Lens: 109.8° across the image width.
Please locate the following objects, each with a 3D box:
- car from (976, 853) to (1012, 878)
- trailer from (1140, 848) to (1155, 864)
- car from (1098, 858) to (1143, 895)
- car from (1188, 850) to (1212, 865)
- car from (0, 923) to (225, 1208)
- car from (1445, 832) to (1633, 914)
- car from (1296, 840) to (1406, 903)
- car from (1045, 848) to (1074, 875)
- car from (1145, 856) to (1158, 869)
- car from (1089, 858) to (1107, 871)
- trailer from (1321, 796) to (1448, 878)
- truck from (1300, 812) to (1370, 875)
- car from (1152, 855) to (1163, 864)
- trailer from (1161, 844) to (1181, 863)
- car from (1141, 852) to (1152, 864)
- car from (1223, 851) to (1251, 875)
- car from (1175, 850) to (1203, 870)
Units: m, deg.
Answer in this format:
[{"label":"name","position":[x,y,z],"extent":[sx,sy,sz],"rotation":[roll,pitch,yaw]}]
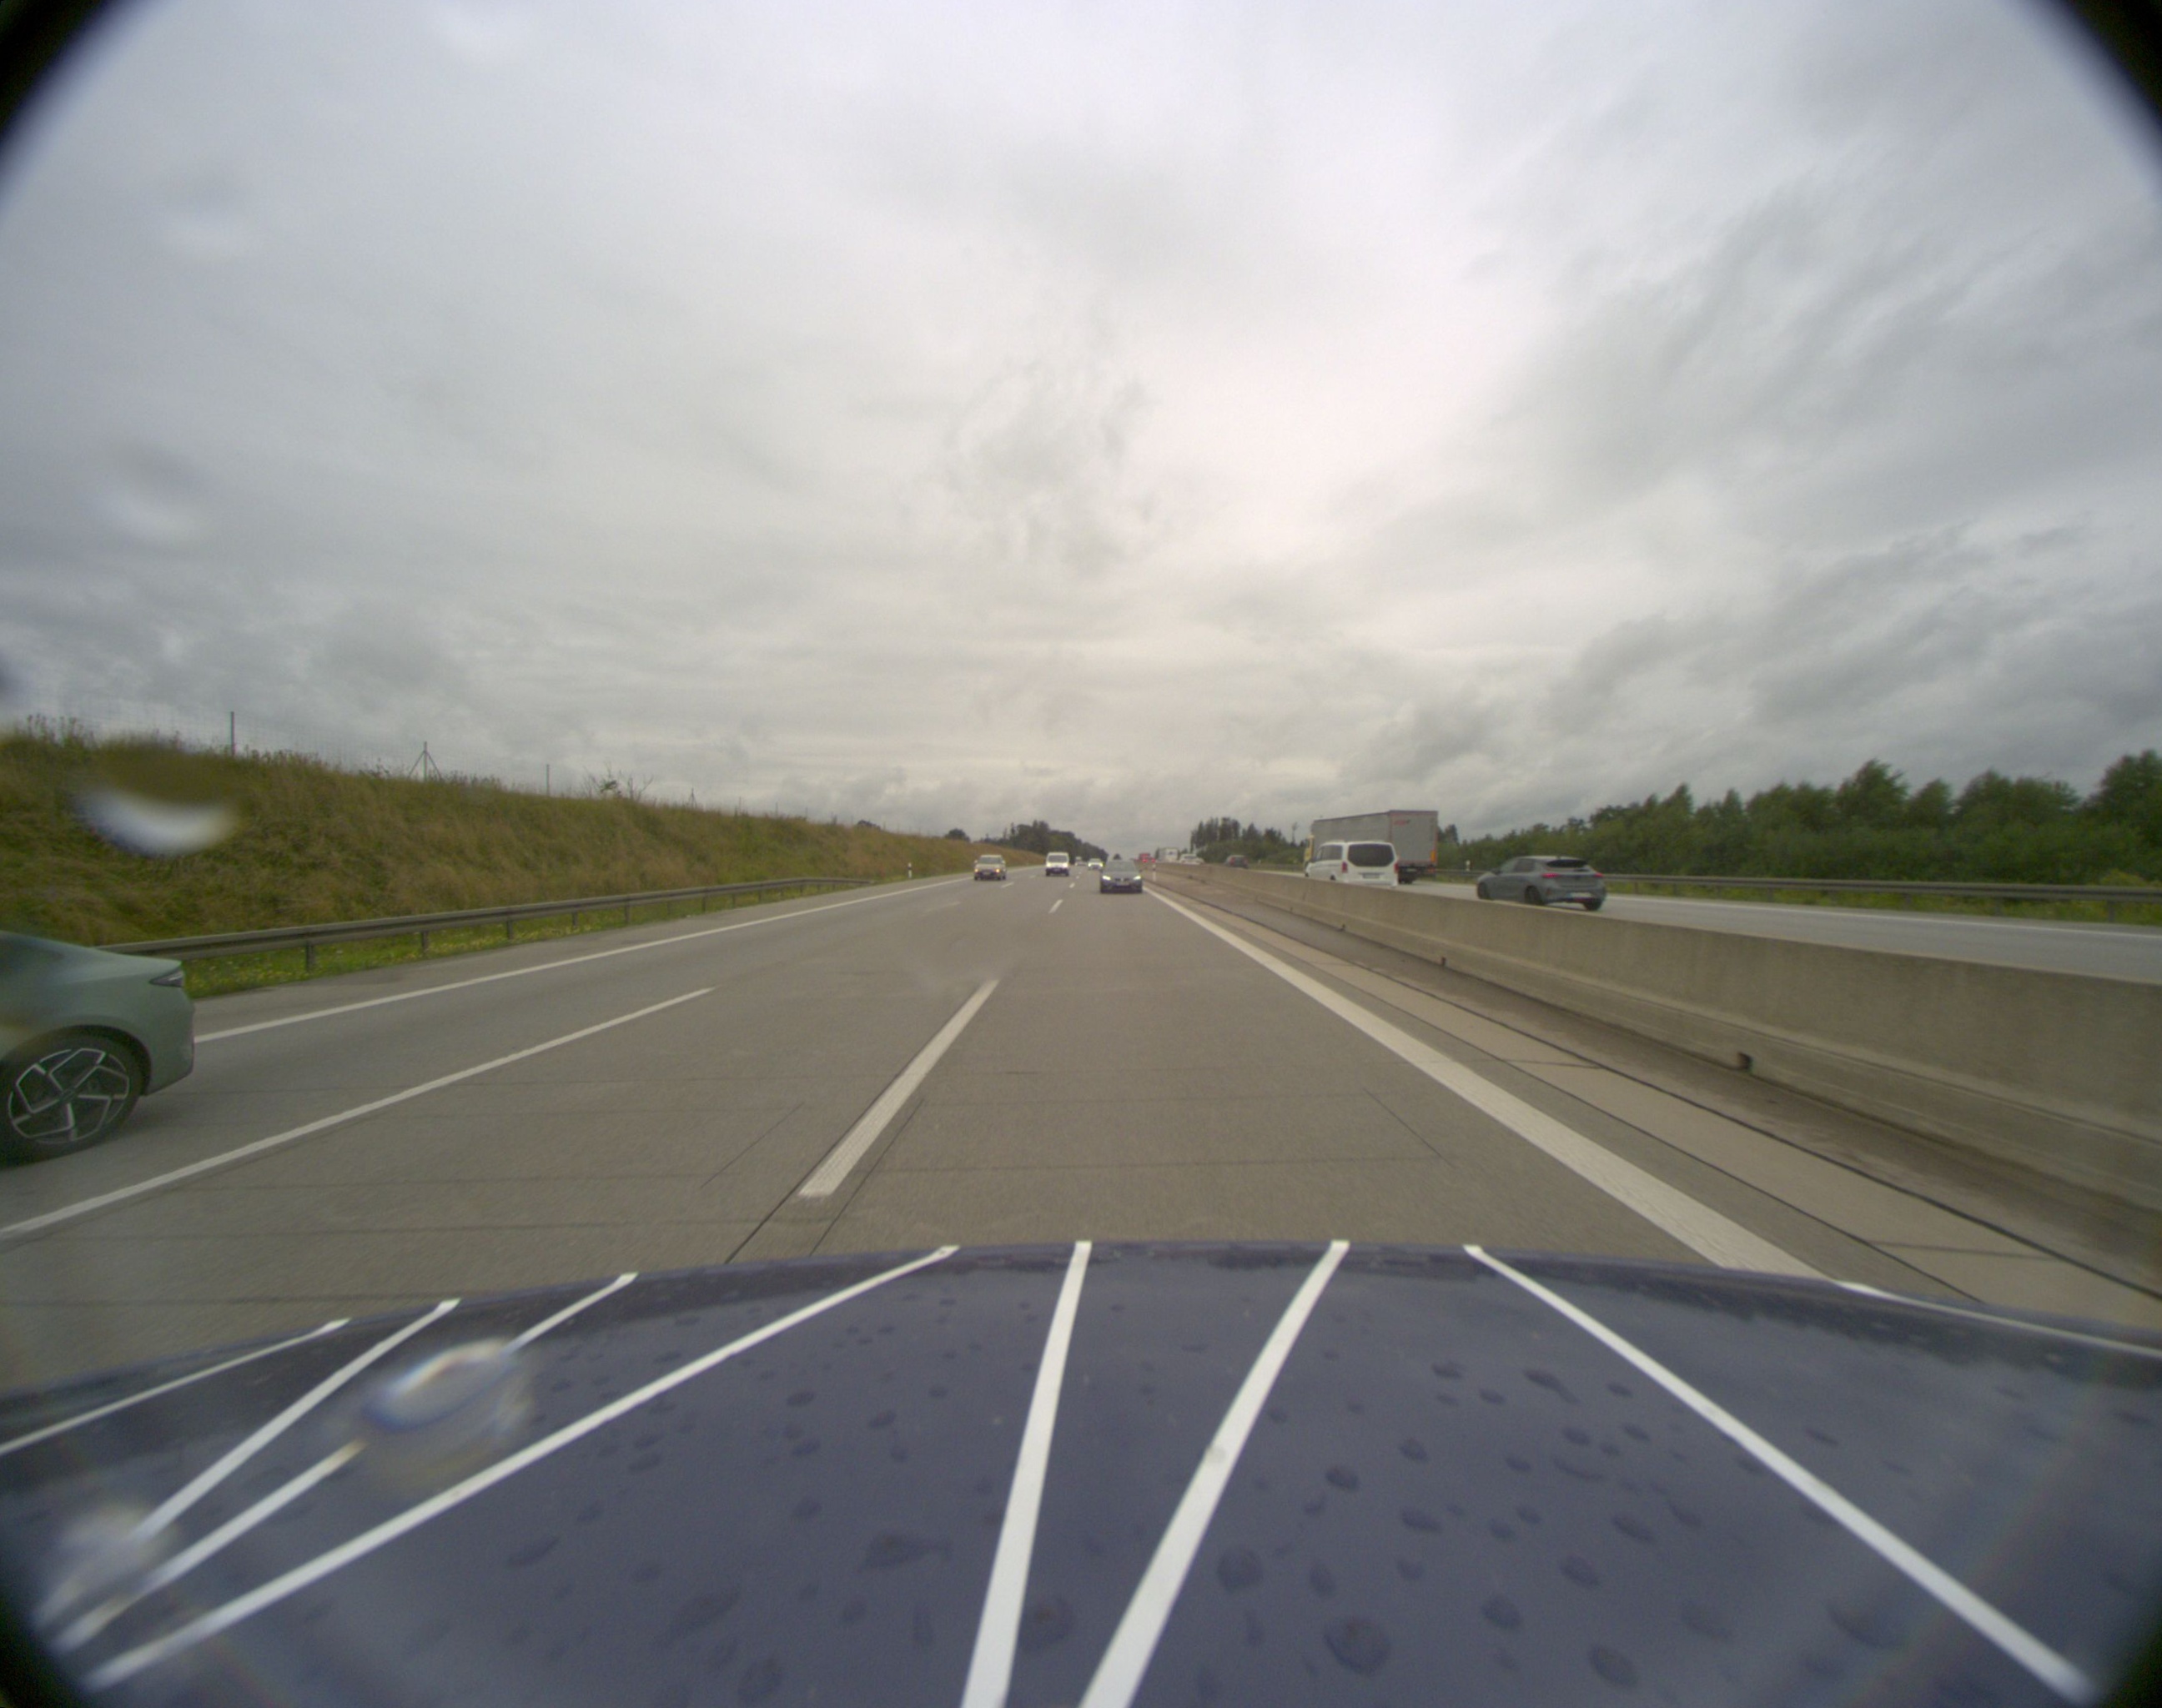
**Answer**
[{"label":"car","position":[-5.740,0.756,50.484],"extent":[1.789,1.595,4.571],"rotation":[1,-1,1]},{"label":"trailer","position":[20.832,0.591,239.209],"extent":[3.607,4.771,12.909],"rotation":[1,-1,0]},{"label":"car","position":[1.748,0.950,33.498],"extent":[1.789,1.471,4.572],"rotation":[1,-1,3]},{"label":"car","position":[14.520,0.409,92.738],"extent":[2.039,1.657,5.268],"rotation":[1,0,0]},{"label":"car","position":[-6.804,1.203,2.721],"extent":[2.019,1.437,4.745],"rotation":[-3,-1,0]},{"label":"car","position":[12.809,0.512,21.865],"extent":[1.919,2.001,5.925],"rotation":[1,-1,1]},{"label":"car","position":[9.463,0.595,27.238],"extent":[1.919,2.001,5.925],"rotation":[1,-1,1]},{"label":"car","position":[-1.734,0.619,63.202],"extent":[2.042,2.111,6.069],"rotation":[1,-1,2]},{"label":"car","position":[11.203,1.390,120.933],"extent":[1.692,2.001,4.837],"rotation":[1,-1,0]},{"label":"car","position":[2.221,1.334,98.124],"extent":[2.030,1.669,4.321],"rotation":[1,-1,4]},{"label":"trailer","position":[17.550,-0.787,45.120],"extent":[2.926,4.192,11.874],"rotation":[1,-1,1]},{"label":"truck","position":[17.673,-0.663,53.286],"extent":[2.939,4.155,5.858],"rotation":[1,-1,0]},{"label":"car","position":[14.413,1.083,143.370],"extent":[1.499,1.738,4.579],"rotation":[1,-1,-1]},{"label":"trailer","position":[19.670,0.003,167.178],"extent":[2.895,3.979,13.016],"rotation":[1,-1,0]},{"label":"car","position":[15.388,0.940,178.275],"extent":[1.806,2.941,5.578],"rotation":[1,0,-2]},{"label":"car","position":[13.667,0.806,66.734],"extent":[1.649,2.001,4.000],"rotation":[1,-1,0]},{"label":"car","position":[10.407,0.571,73.422],"extent":[2.039,1.856,4.604],"rotation":[1,0,1]}]
